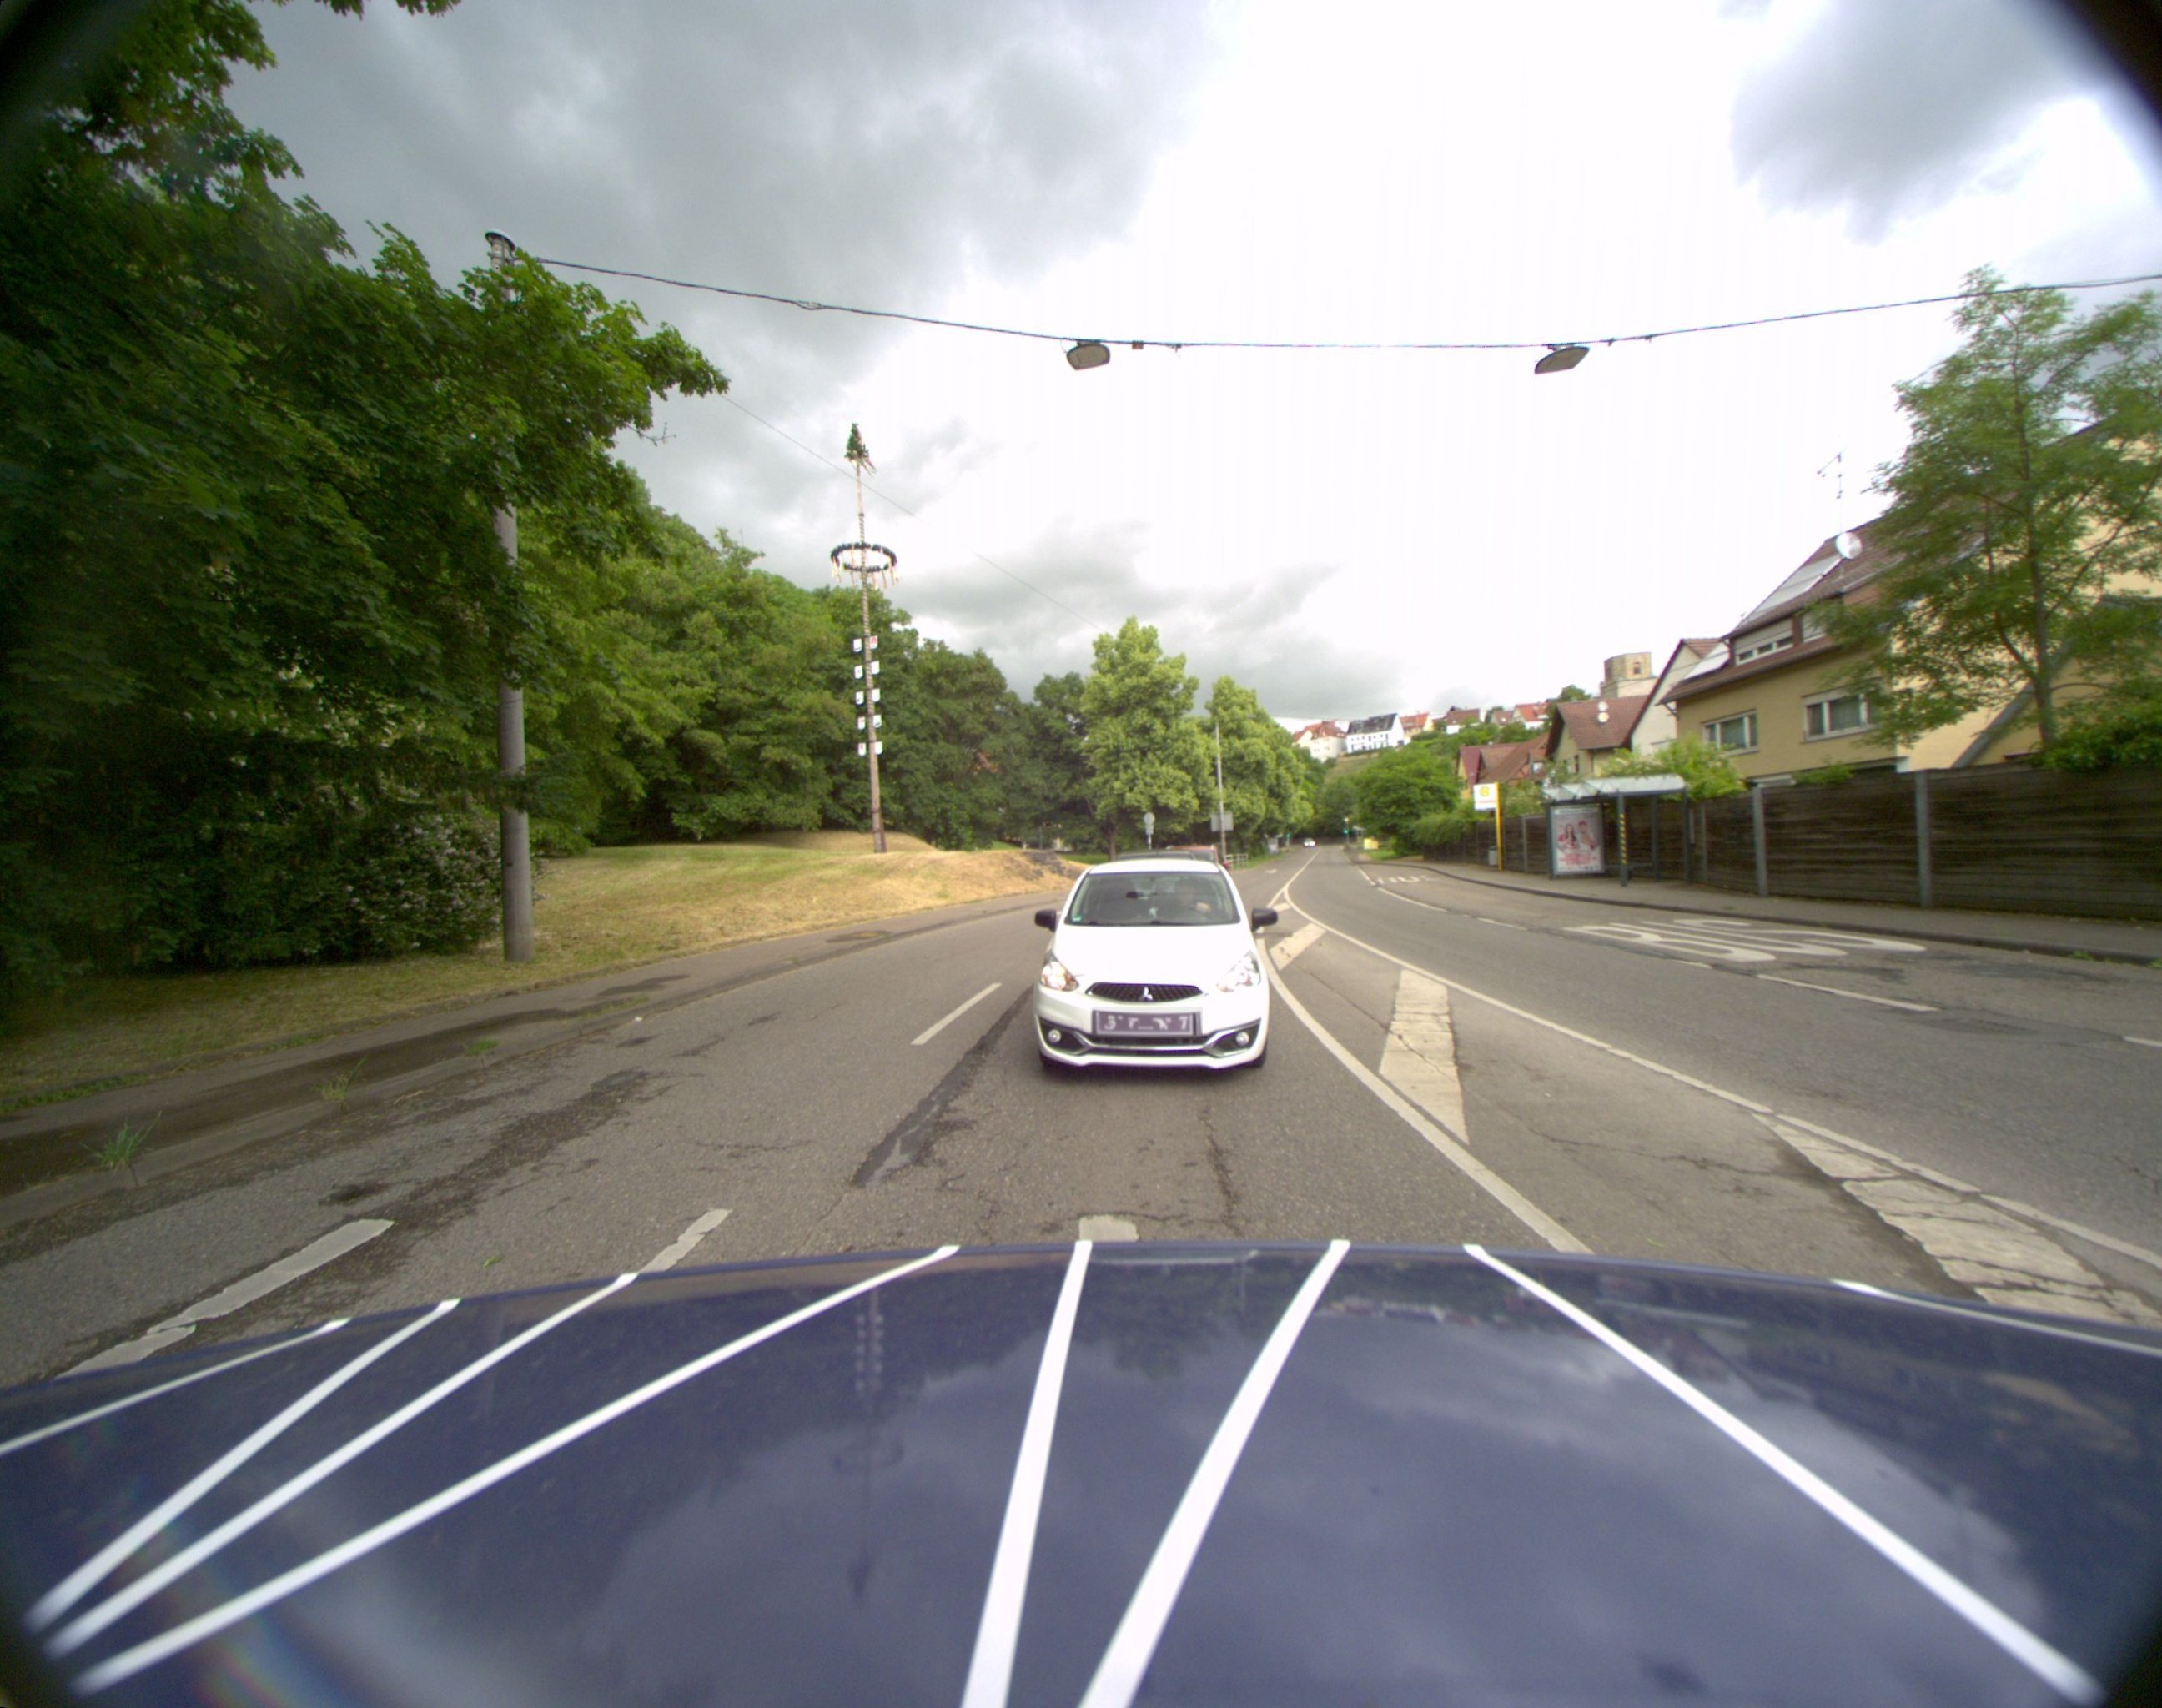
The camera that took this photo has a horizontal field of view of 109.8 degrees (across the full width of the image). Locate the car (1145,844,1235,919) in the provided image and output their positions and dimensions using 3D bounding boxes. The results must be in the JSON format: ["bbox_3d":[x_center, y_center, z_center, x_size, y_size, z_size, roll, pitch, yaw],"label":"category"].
[{"bbox_3d":[2.915,0.624,19.538,1.826,1.662,4.061,-2,1,14],"label":"car"}]

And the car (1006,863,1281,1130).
[{"bbox_3d":[0.639,0.905,6.429,1.617,1.505,3.607,-2,1,9],"label":"car"}]

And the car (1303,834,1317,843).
[{"bbox_3d":[43.415,-2.991,143.959,1.845,1.630,4.001,-2,1,6],"label":"car"}]

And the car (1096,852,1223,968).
[{"bbox_3d":[1.393,0.790,12.586,1.723,1.539,3.784,-2,1,9],"label":"car"}]
